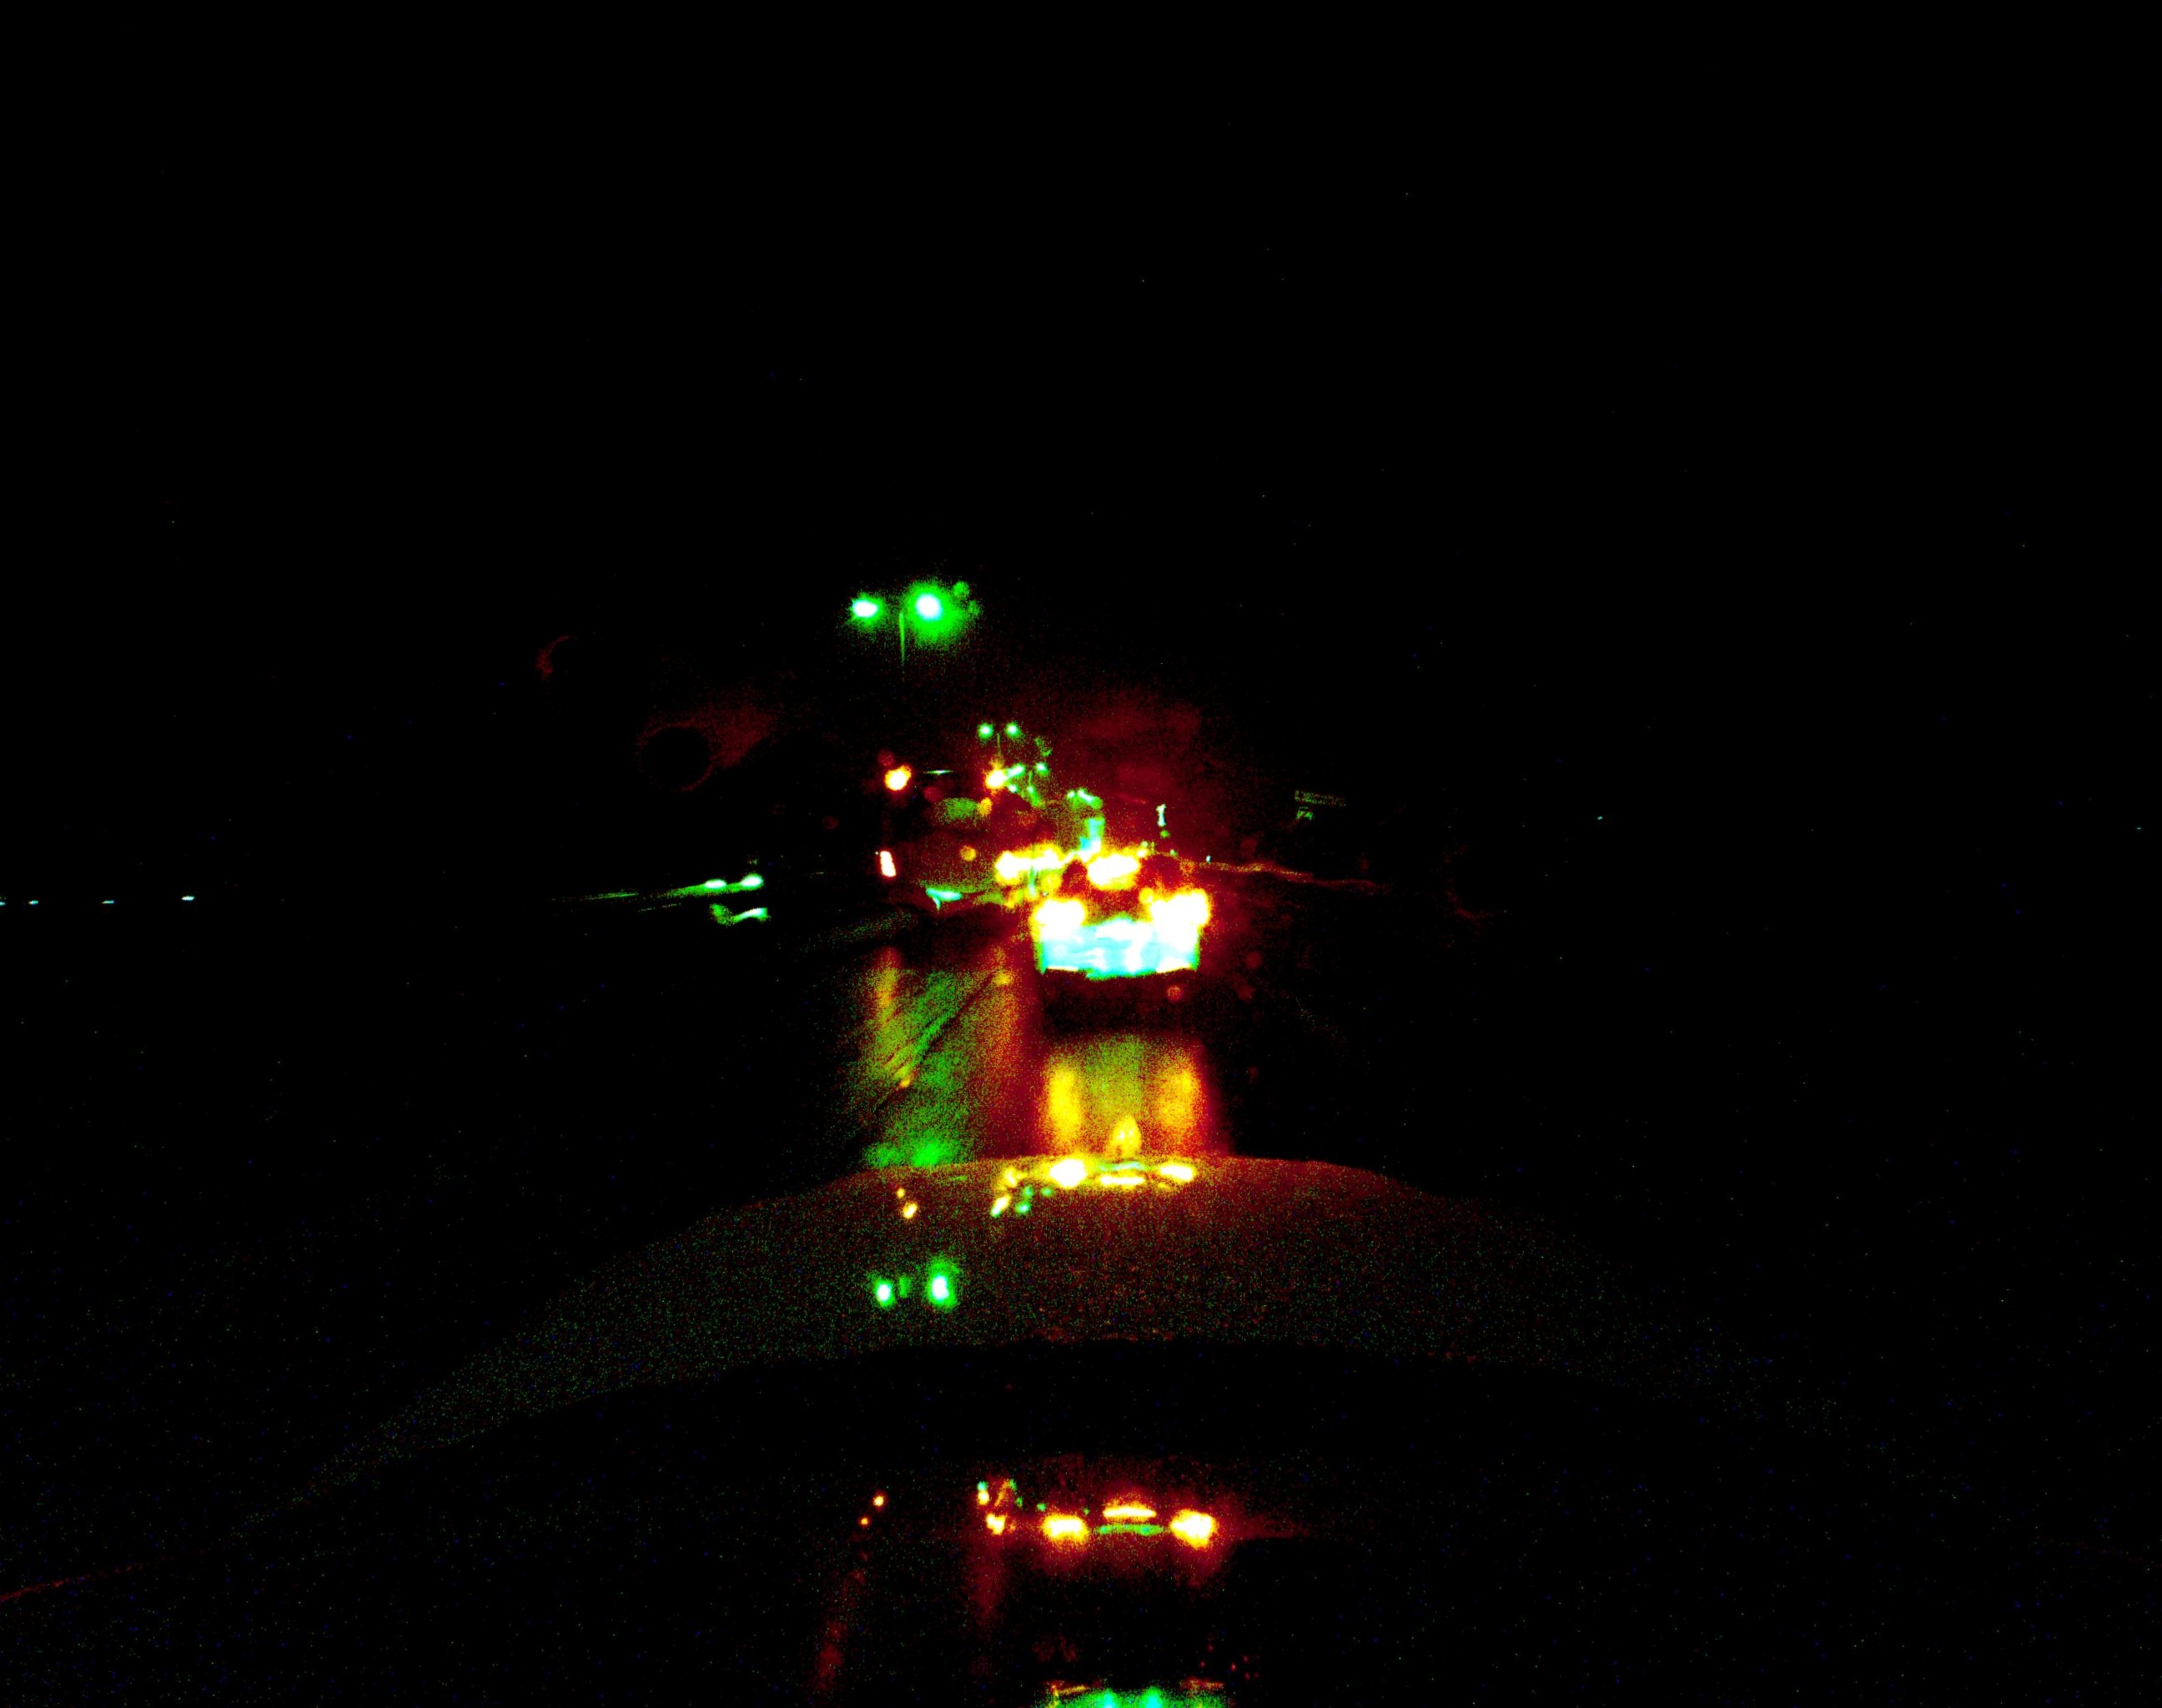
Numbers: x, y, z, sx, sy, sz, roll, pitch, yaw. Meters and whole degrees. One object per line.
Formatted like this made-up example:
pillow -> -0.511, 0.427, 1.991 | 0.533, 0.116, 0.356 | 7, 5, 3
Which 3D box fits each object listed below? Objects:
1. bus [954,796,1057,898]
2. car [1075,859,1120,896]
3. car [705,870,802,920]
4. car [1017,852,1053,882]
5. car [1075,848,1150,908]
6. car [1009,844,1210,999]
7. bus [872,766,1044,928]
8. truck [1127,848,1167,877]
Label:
bus -> -2.462, -0.249, 29.423 | 2.734, 3.123, 8.705 | 1, 1, 1
car -> 0.736, 0.980, 35.254 | 1.815, 1.461, 3.717 | -1, 0, 2
car -> -12.810, 1.548, 32.194 | 1.986, 1.809, 4.201 | 1, -1, 2
car -> -2.343, 0.677, 42.236 | 1.552, 1.487, 3.810 | 1, -1, 2
car -> 0.832, 0.599, 21.828 | 1.815, 1.461, 3.717 | -1, 0, 2
car -> 0.338, 0.658, 9.780 | 1.937, 1.491, 3.717 | -1, 0, 2
bus -> -2.606, -0.181, 20.419 | 2.734, 3.123, 9.202 | 1, 1, 1
truck -> 6.078, 0.778, 74.013 | 3.052, 2.528, 7.183 | 0, -1, 9
